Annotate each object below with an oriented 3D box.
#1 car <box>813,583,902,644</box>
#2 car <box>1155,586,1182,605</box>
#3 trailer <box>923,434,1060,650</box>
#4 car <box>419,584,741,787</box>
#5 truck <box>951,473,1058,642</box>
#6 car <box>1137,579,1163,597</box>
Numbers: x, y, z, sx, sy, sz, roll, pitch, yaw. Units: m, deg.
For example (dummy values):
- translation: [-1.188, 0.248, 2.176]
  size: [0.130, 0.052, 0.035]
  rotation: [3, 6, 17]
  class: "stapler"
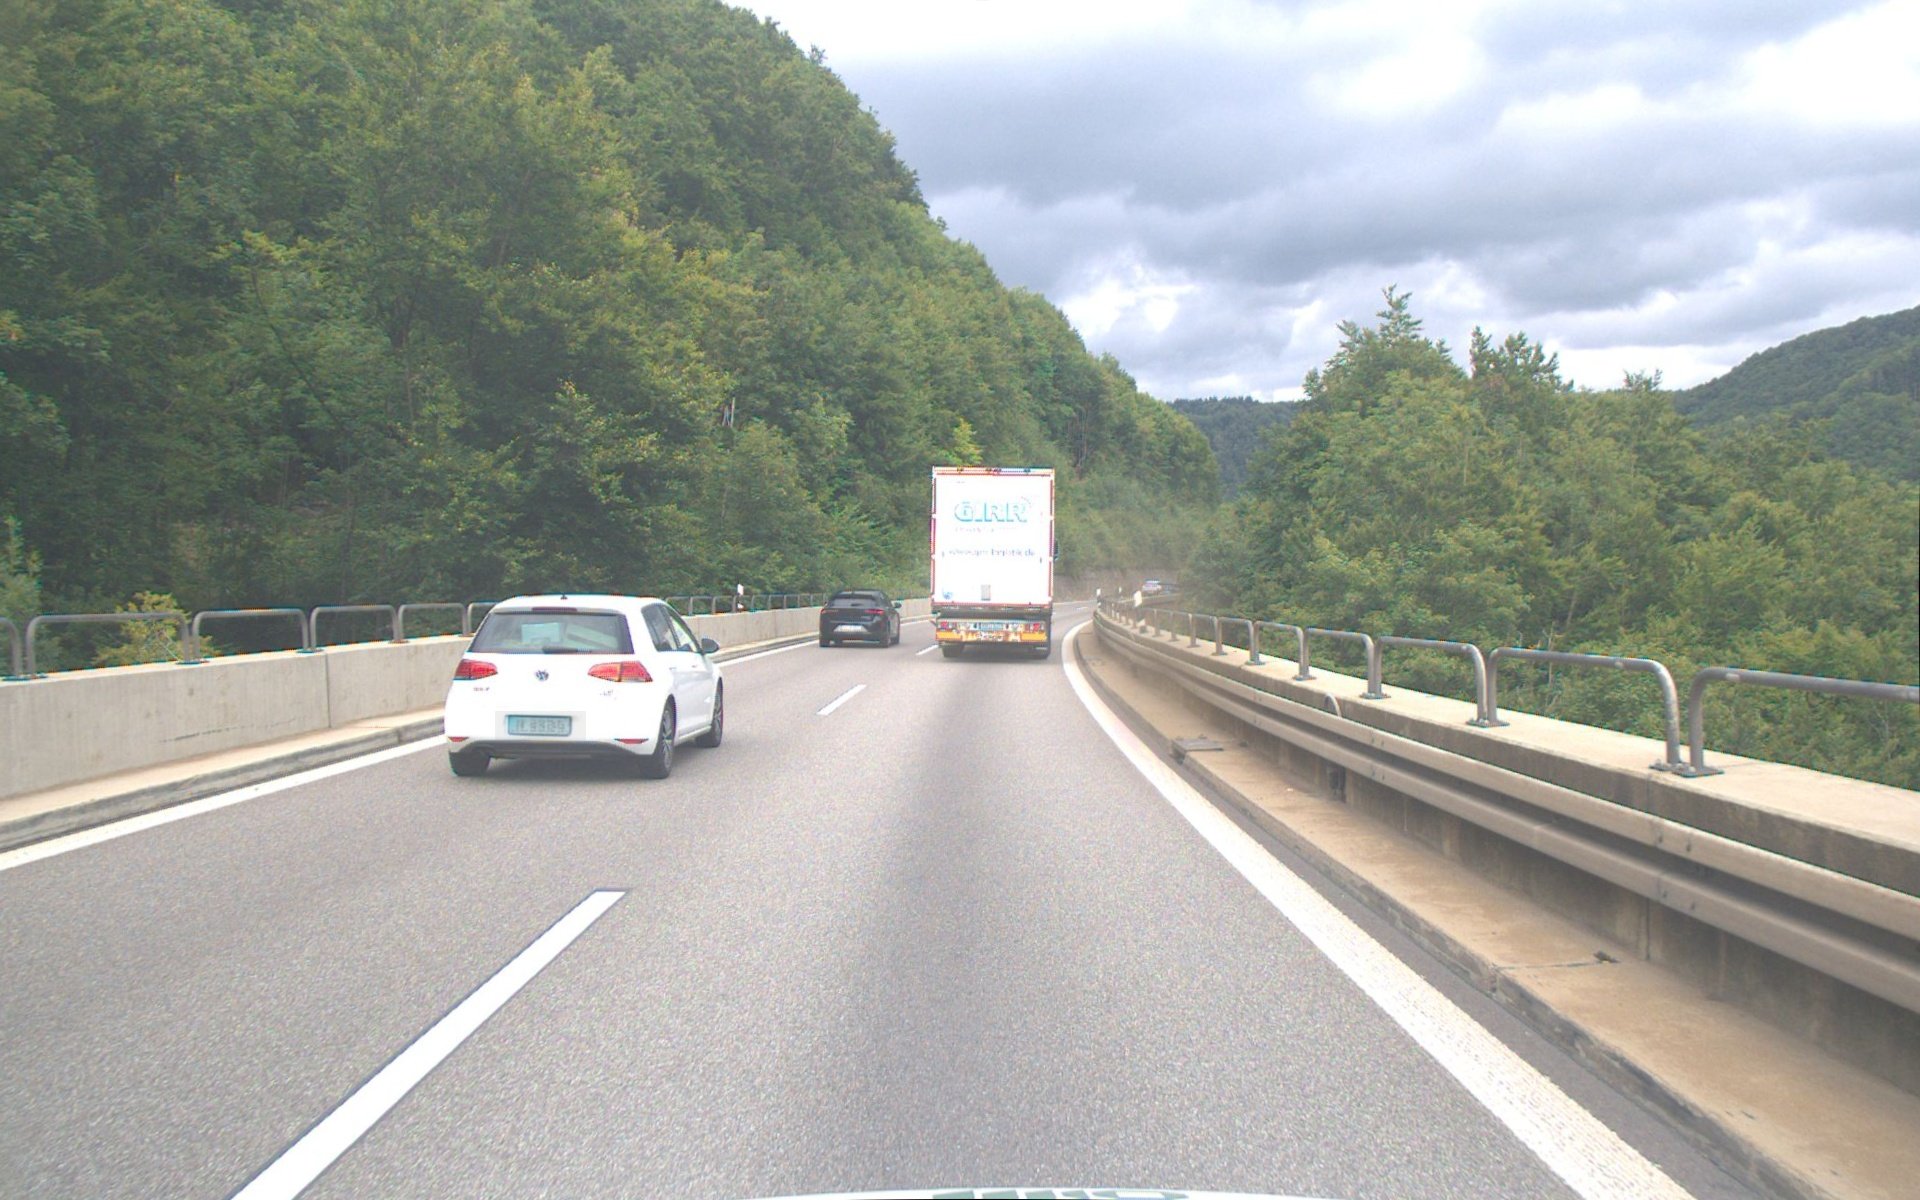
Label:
- translation: [-2.613, 0.347, 43.109]
  size: [1.736, 1.486, 4.583]
  rotation: [0, 0, 4]
  class: "car"
- translation: [18.686, -0.369, 148.209]
  size: [1.951, 1.593, 4.003]
  rotation: [0, -1, 13]
  class: "car"
- translation: [0.959, -1.128, 39.790]
  size: [2.754, 4.378, 12.249]
  rotation: [-1, -1, 3]
  class: "trailer"
- translation: [-3.128, 0.617, 14.603]
  size: [1.807, 1.507, 4.627]
  rotation: [0, 0, -1]
  class: "car"
- translation: [1.323, -1.066, 46.253]
  size: [2.754, 4.378, 6.261]
  rotation: [-1, -1, 3]
  class: "truck"
- translation: [18.434, -1.133, 160.305]
  size: [1.951, 1.593, 4.003]
  rotation: [0, -1, 15]
  class: "car"
